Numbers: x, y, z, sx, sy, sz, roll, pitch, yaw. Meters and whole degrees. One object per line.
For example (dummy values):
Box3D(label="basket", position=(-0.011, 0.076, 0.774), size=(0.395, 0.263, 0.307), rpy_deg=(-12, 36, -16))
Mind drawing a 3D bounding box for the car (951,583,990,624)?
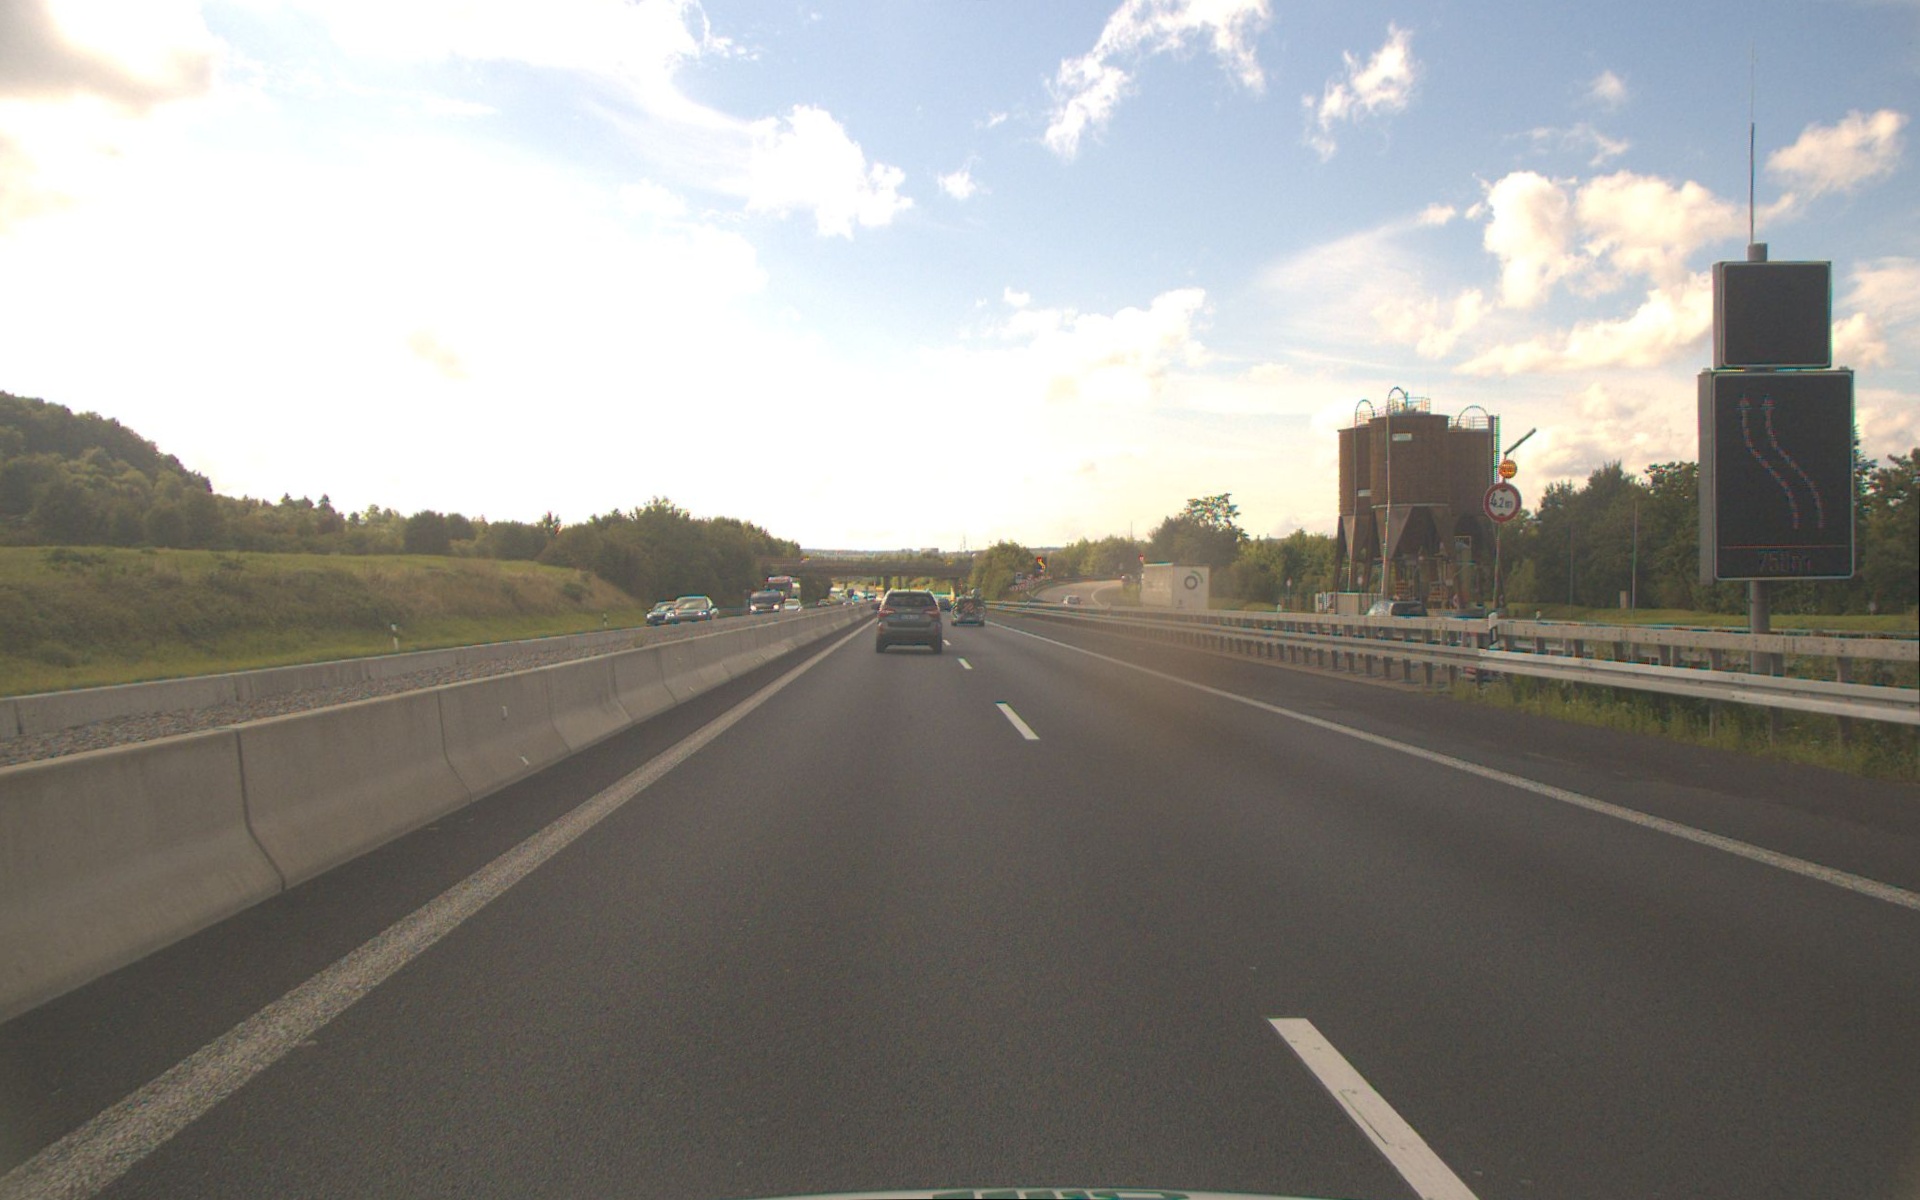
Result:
Box3D(label="car", position=(0.531, 0.187, 90.916), size=(1.953, 2.117, 3.999), rpy_deg=(-2, 0, -2))

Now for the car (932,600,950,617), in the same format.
Box3D(label="car", position=(-2.111, 0.902, 183.949), size=(1.935, 1.810, 4.118), rpy_deg=(-2, 0, -2))

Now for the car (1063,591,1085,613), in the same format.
Box3D(label="car", position=(10.829, 0.173, 157.323), size=(1.952, 2.049, 4.001), rpy_deg=(-2, 0, 2))

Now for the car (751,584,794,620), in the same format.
Box3D(label="car", position=(-11.250, 0.140, 99.468), size=(1.953, 2.049, 5.840), rpy_deg=(-2, 0, -1))

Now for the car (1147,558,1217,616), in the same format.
Box3D(label="car", position=(15.196, -0.884, 113.970), size=(3.504, 3.741, 7.546), rpy_deg=(-2, 0, -2))

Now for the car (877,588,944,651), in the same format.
Box3D(label="car", position=(-1.340, 0.523, 46.085), size=(1.714, 1.659, 3.608), rpy_deg=(-2, 0, 0))

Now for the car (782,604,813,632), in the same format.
Box3D(label="car", position=(-12.432, 1.378, 126.805), size=(1.953, 2.049, 4.676), rpy_deg=(0, 0, -1))

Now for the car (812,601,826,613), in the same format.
Box3D(label="car", position=(-21.403, 1.038, 251.387), size=(1.953, 1.747, 3.999), rpy_deg=(-2, 0, -2))

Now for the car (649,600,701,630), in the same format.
Box3D(label="car", position=(-15.091, 0.777, 87.858), size=(1.953, 1.504, 4.691), rpy_deg=(-2, 0, -1))

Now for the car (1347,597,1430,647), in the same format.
Box3D(label="car", position=(15.932, 0.781, 61.682), size=(1.953, 1.747, 3.999), rpy_deg=(-2, 0, -2))

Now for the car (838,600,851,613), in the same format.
Box3D(label="car", position=(-17.284, 0.918, 247.540), size=(1.771, 1.864, 4.395), rpy_deg=(-2, 0, -1))

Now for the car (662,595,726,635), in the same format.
Box3D(label="car", position=(-11.445, 0.646, 71.537), size=(1.953, 1.600, 5.364), rpy_deg=(-2, 0, -1))

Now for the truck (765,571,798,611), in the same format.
Box3D(label="truck", position=(-18.350, -0.927, 170.609), size=(2.682, 3.993, 6.899), rpy_deg=(-2, 0, -1))
